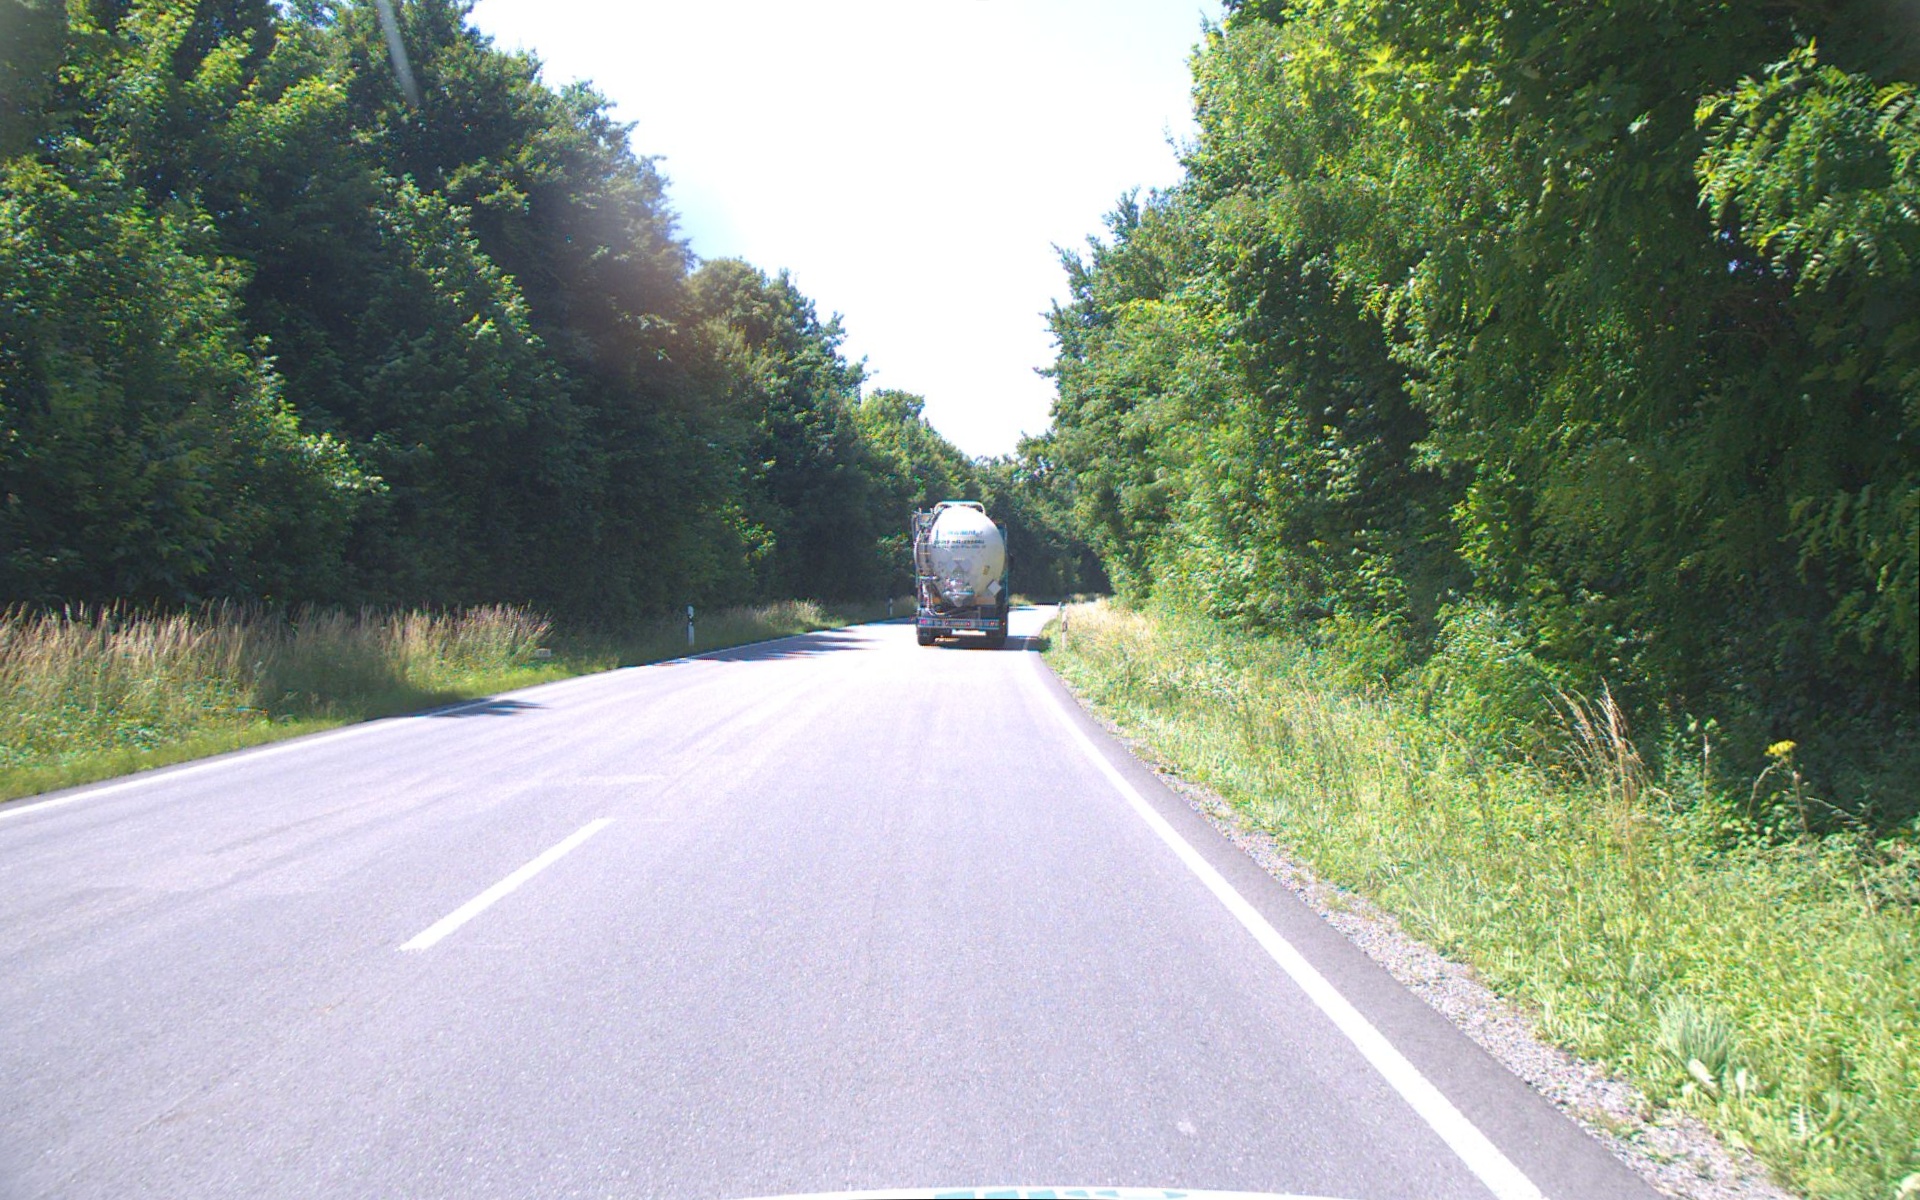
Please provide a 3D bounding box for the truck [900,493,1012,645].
[{"bbox_3d":[-0.079,-0.870,52.168,2.987,4.068,15.636,0,0,0],"label":"truck"}]
